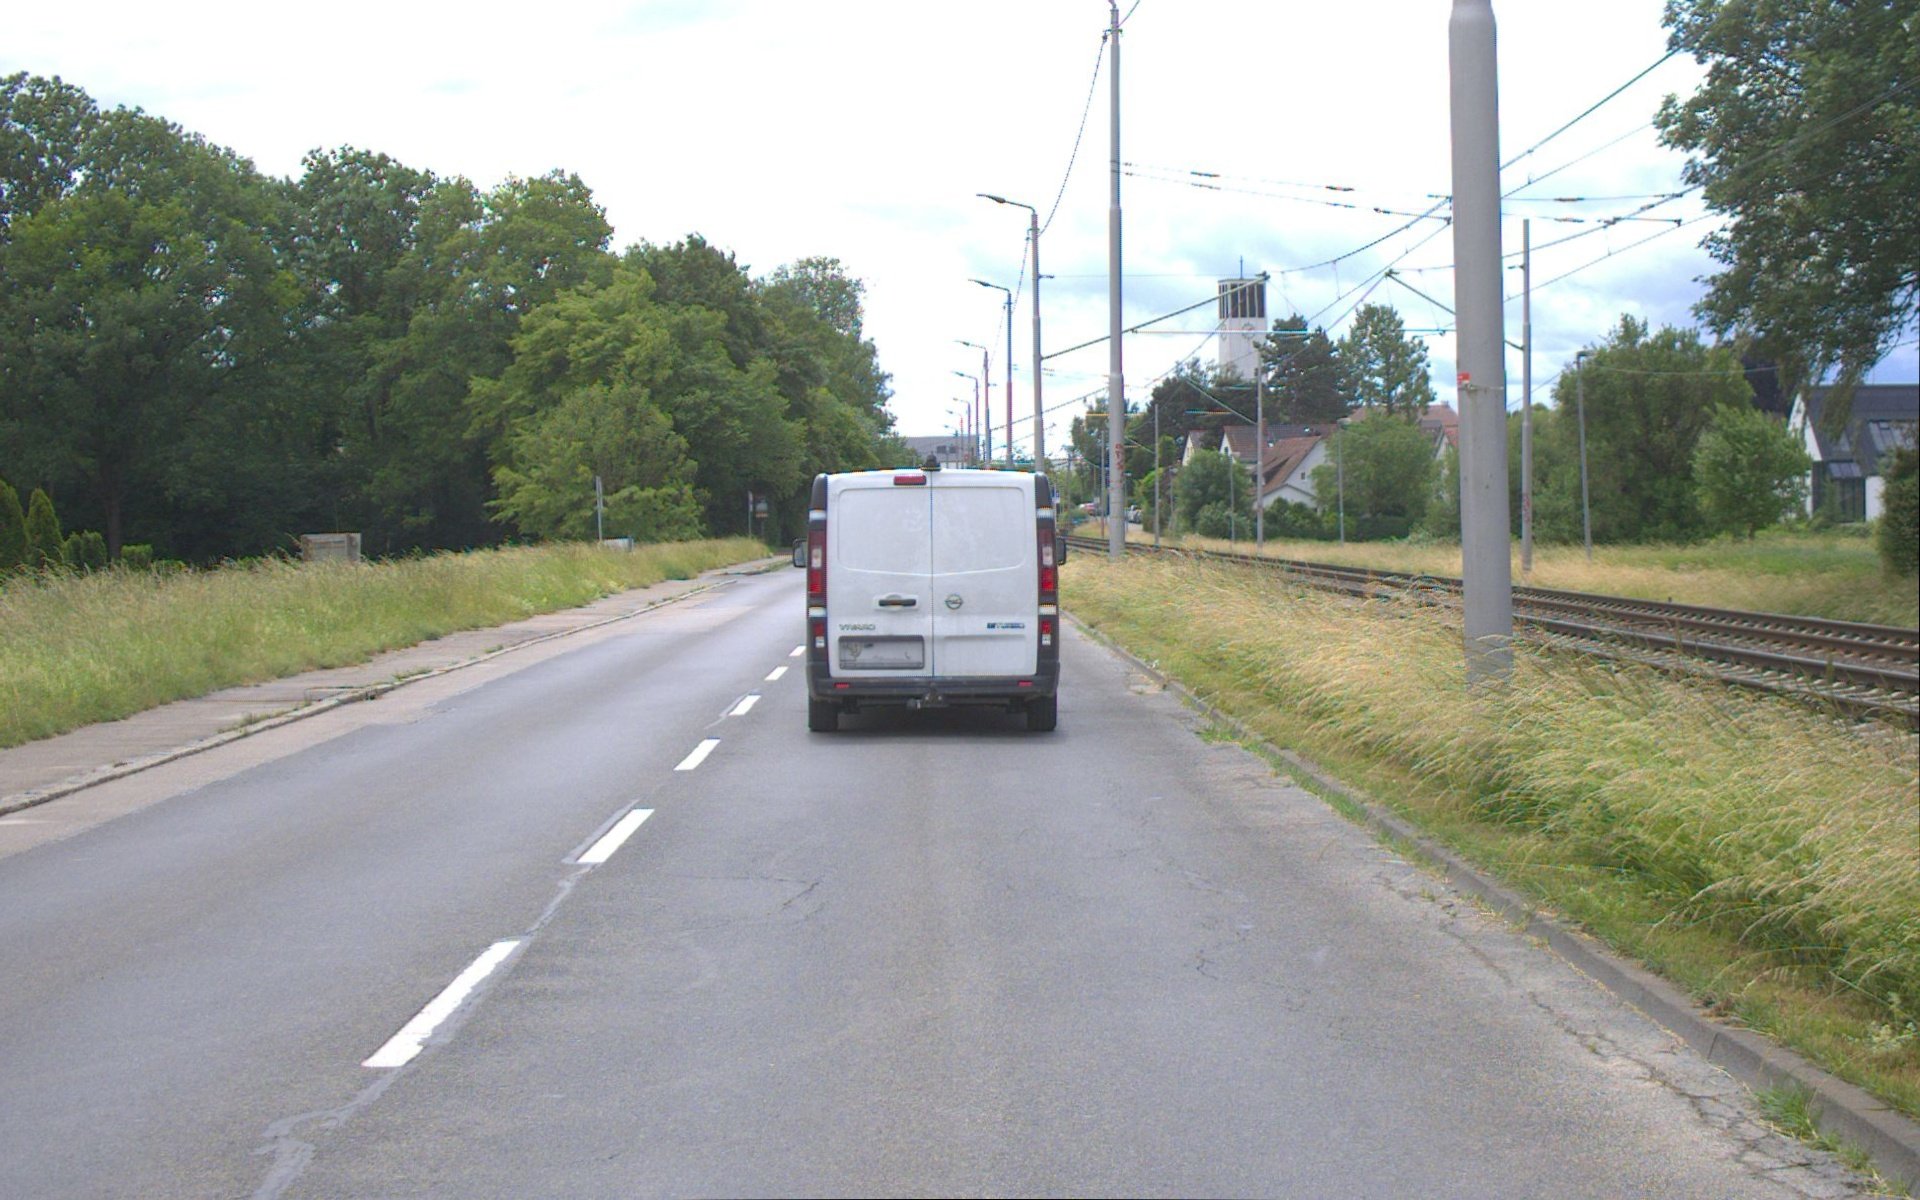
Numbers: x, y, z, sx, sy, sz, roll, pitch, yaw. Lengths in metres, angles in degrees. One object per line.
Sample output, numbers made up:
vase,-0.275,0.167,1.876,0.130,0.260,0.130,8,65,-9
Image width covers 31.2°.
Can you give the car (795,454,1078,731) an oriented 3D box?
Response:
car,-0.221,-0.108,26.459,1.993,1.950,4.001,1,2,-2
